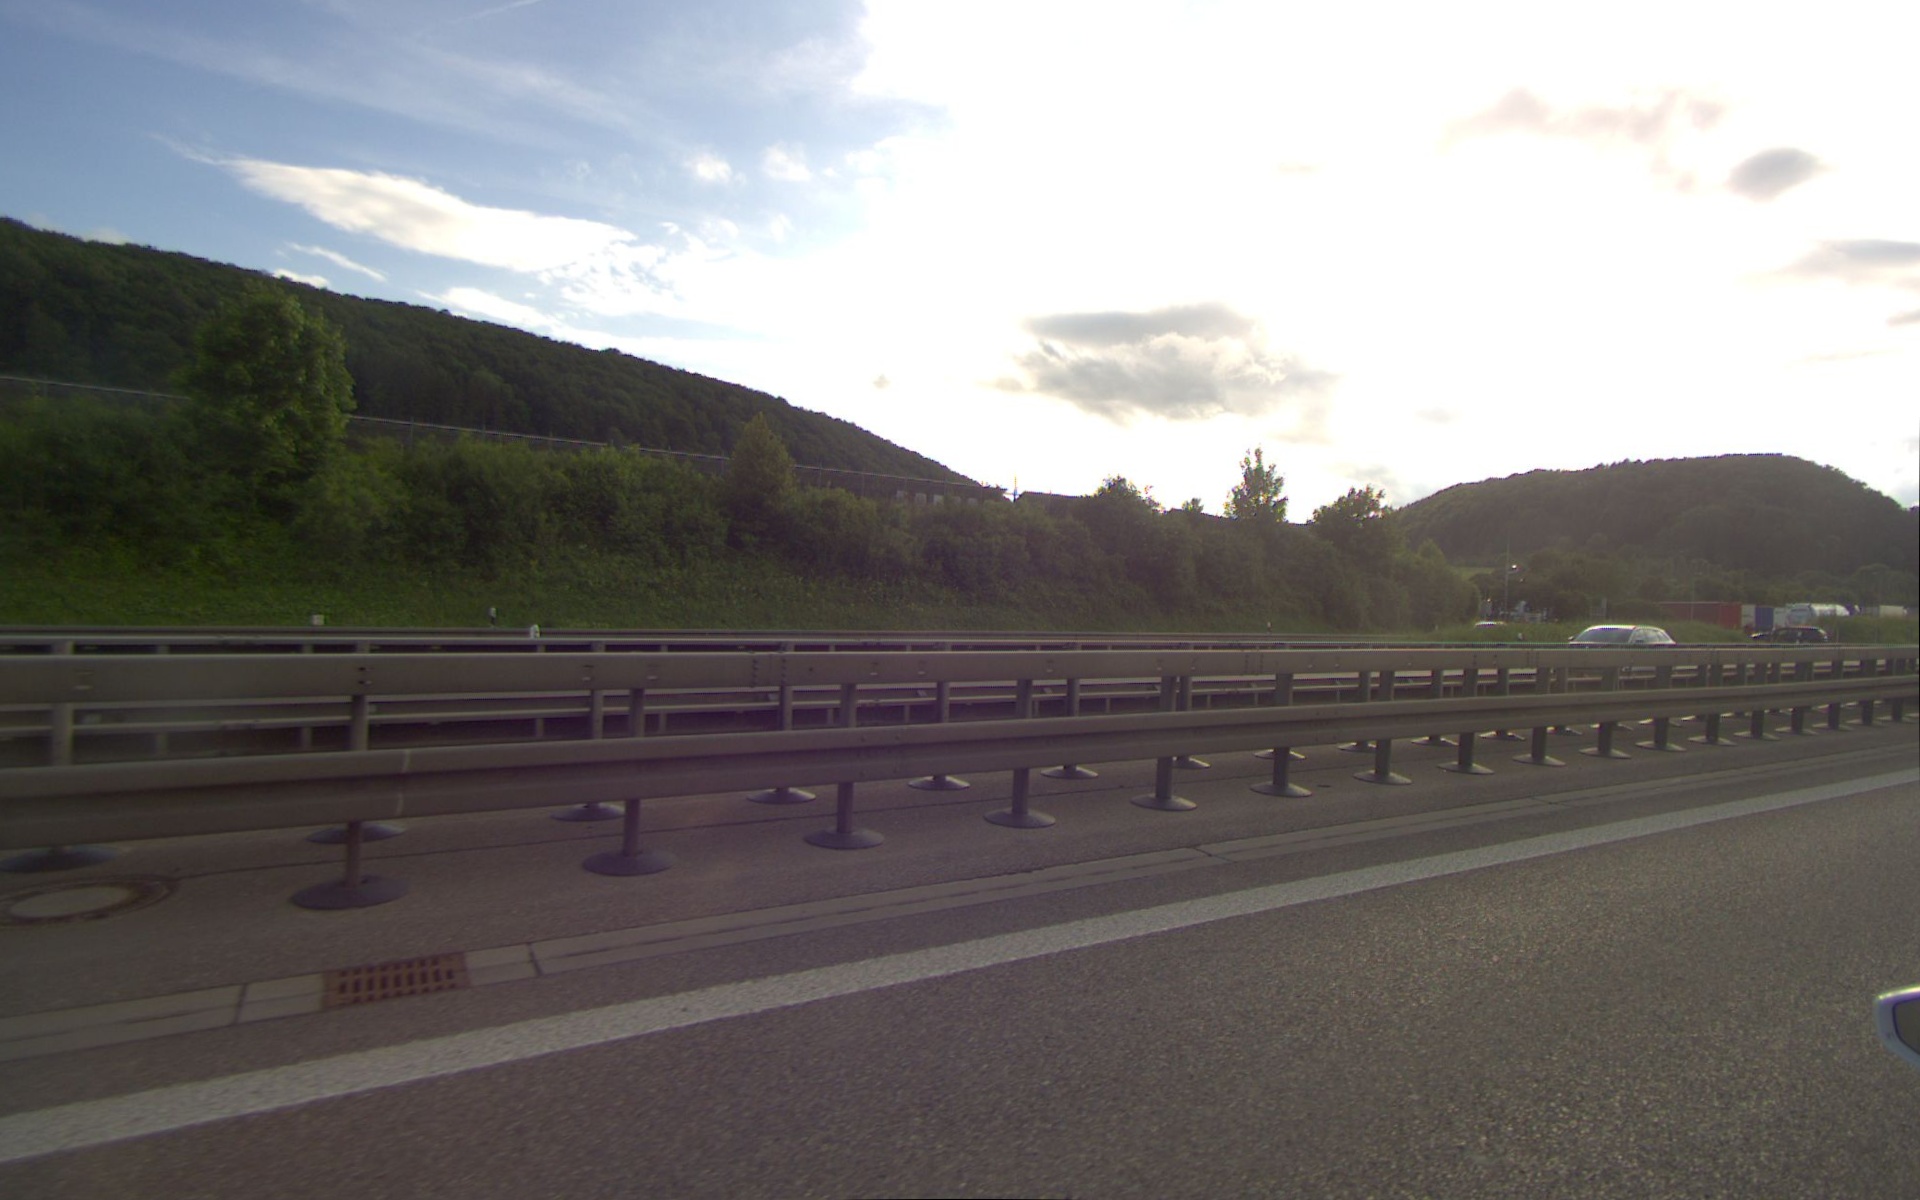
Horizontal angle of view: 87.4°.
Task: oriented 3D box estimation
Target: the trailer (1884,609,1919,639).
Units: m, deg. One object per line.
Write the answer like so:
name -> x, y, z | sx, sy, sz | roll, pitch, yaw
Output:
trailer -> 126.264, 3.245, 133.839 | 13.564, 3.744, 2.854 | 3, -3, -40

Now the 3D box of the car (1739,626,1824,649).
car -> 59.676, 2.697, 73.001 | 1.986, 1.572, 4.560 | 2, -1, -43

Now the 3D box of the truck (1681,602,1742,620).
truck -> 94.194, 1.447, 126.098 | 2.841, 2.040, 7.313 | 2, -1, 8

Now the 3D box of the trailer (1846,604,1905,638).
trailer -> 109.095, 2.521, 119.544 | 13.552, 3.745, 2.856 | 2, -2, -37

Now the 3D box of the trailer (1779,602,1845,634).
trailer -> 89.514, 1.918, 105.445 | 12.149, 2.891, 2.560 | 3, -1, -37

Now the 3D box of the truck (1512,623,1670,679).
truck -> 17.427, 1.384, 27.687 | 4.597, 1.383, 1.982 | 2, -1, -34

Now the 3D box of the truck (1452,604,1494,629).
truck -> 83.660, 2.725, 164.111 | 2.535, 3.907, 11.388 | 2, -1, 8

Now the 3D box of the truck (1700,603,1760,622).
truck -> 98.862, 1.635, 129.139 | 2.841, 2.256, 7.313 | 1, -1, 8
